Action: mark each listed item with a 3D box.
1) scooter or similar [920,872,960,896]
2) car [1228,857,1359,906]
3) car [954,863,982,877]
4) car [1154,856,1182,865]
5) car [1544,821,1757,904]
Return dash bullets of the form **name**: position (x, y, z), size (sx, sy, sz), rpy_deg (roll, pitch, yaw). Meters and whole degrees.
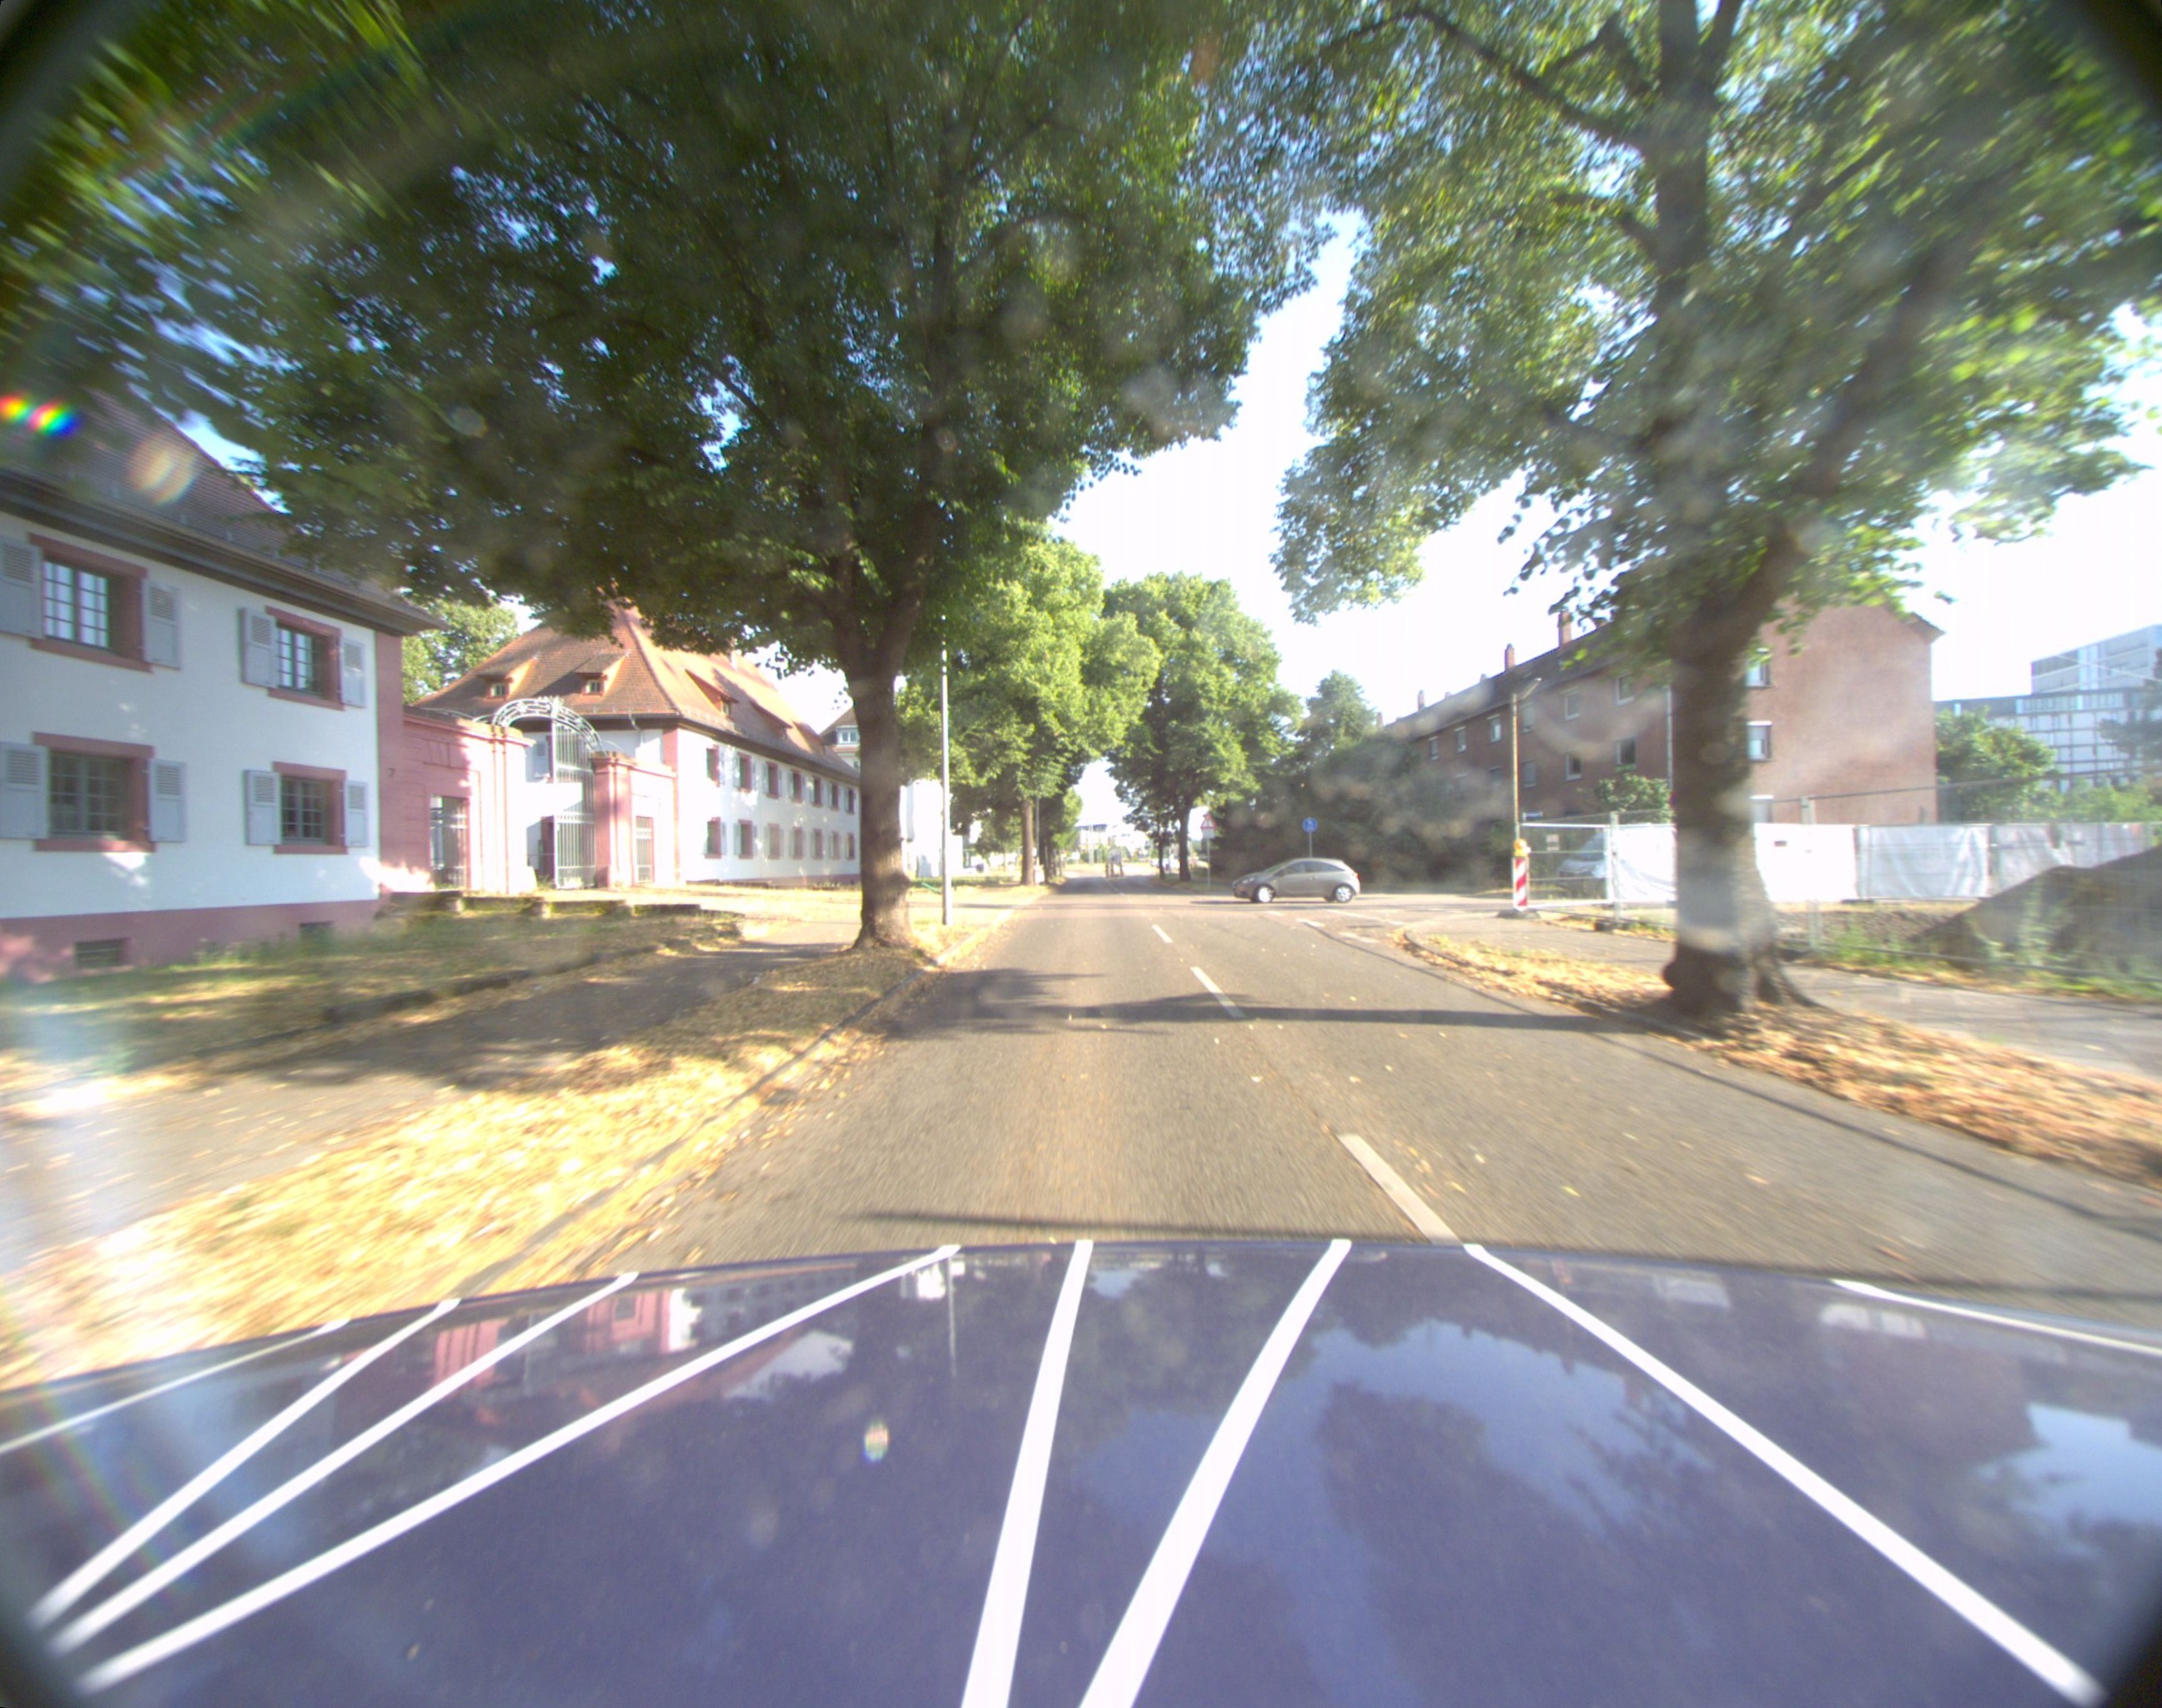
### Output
- **scooter or similar**: position (-5.843, 1.234, 31.604), size (1.226, 0.546, 1.064), rpy_deg (18, 5, 9)
- **car**: position (6.917, 0.875, 24.997), size (3.852, 1.464, 1.651), rpy_deg (-2, 0, 3)
- **car**: position (-16.434, 2.335, 110.376), size (3.622, 1.411, 1.766), rpy_deg (-7, -6, -2)
- **car**: position (15.765, 1.193, 137.392), size (4.591, 1.376, 2.092), rpy_deg (-1, 0, -13)
- **car**: position (19.325, 0.240, 26.037), size (5.318, 2.456, 2.168), rpy_deg (2, 6, 5)
